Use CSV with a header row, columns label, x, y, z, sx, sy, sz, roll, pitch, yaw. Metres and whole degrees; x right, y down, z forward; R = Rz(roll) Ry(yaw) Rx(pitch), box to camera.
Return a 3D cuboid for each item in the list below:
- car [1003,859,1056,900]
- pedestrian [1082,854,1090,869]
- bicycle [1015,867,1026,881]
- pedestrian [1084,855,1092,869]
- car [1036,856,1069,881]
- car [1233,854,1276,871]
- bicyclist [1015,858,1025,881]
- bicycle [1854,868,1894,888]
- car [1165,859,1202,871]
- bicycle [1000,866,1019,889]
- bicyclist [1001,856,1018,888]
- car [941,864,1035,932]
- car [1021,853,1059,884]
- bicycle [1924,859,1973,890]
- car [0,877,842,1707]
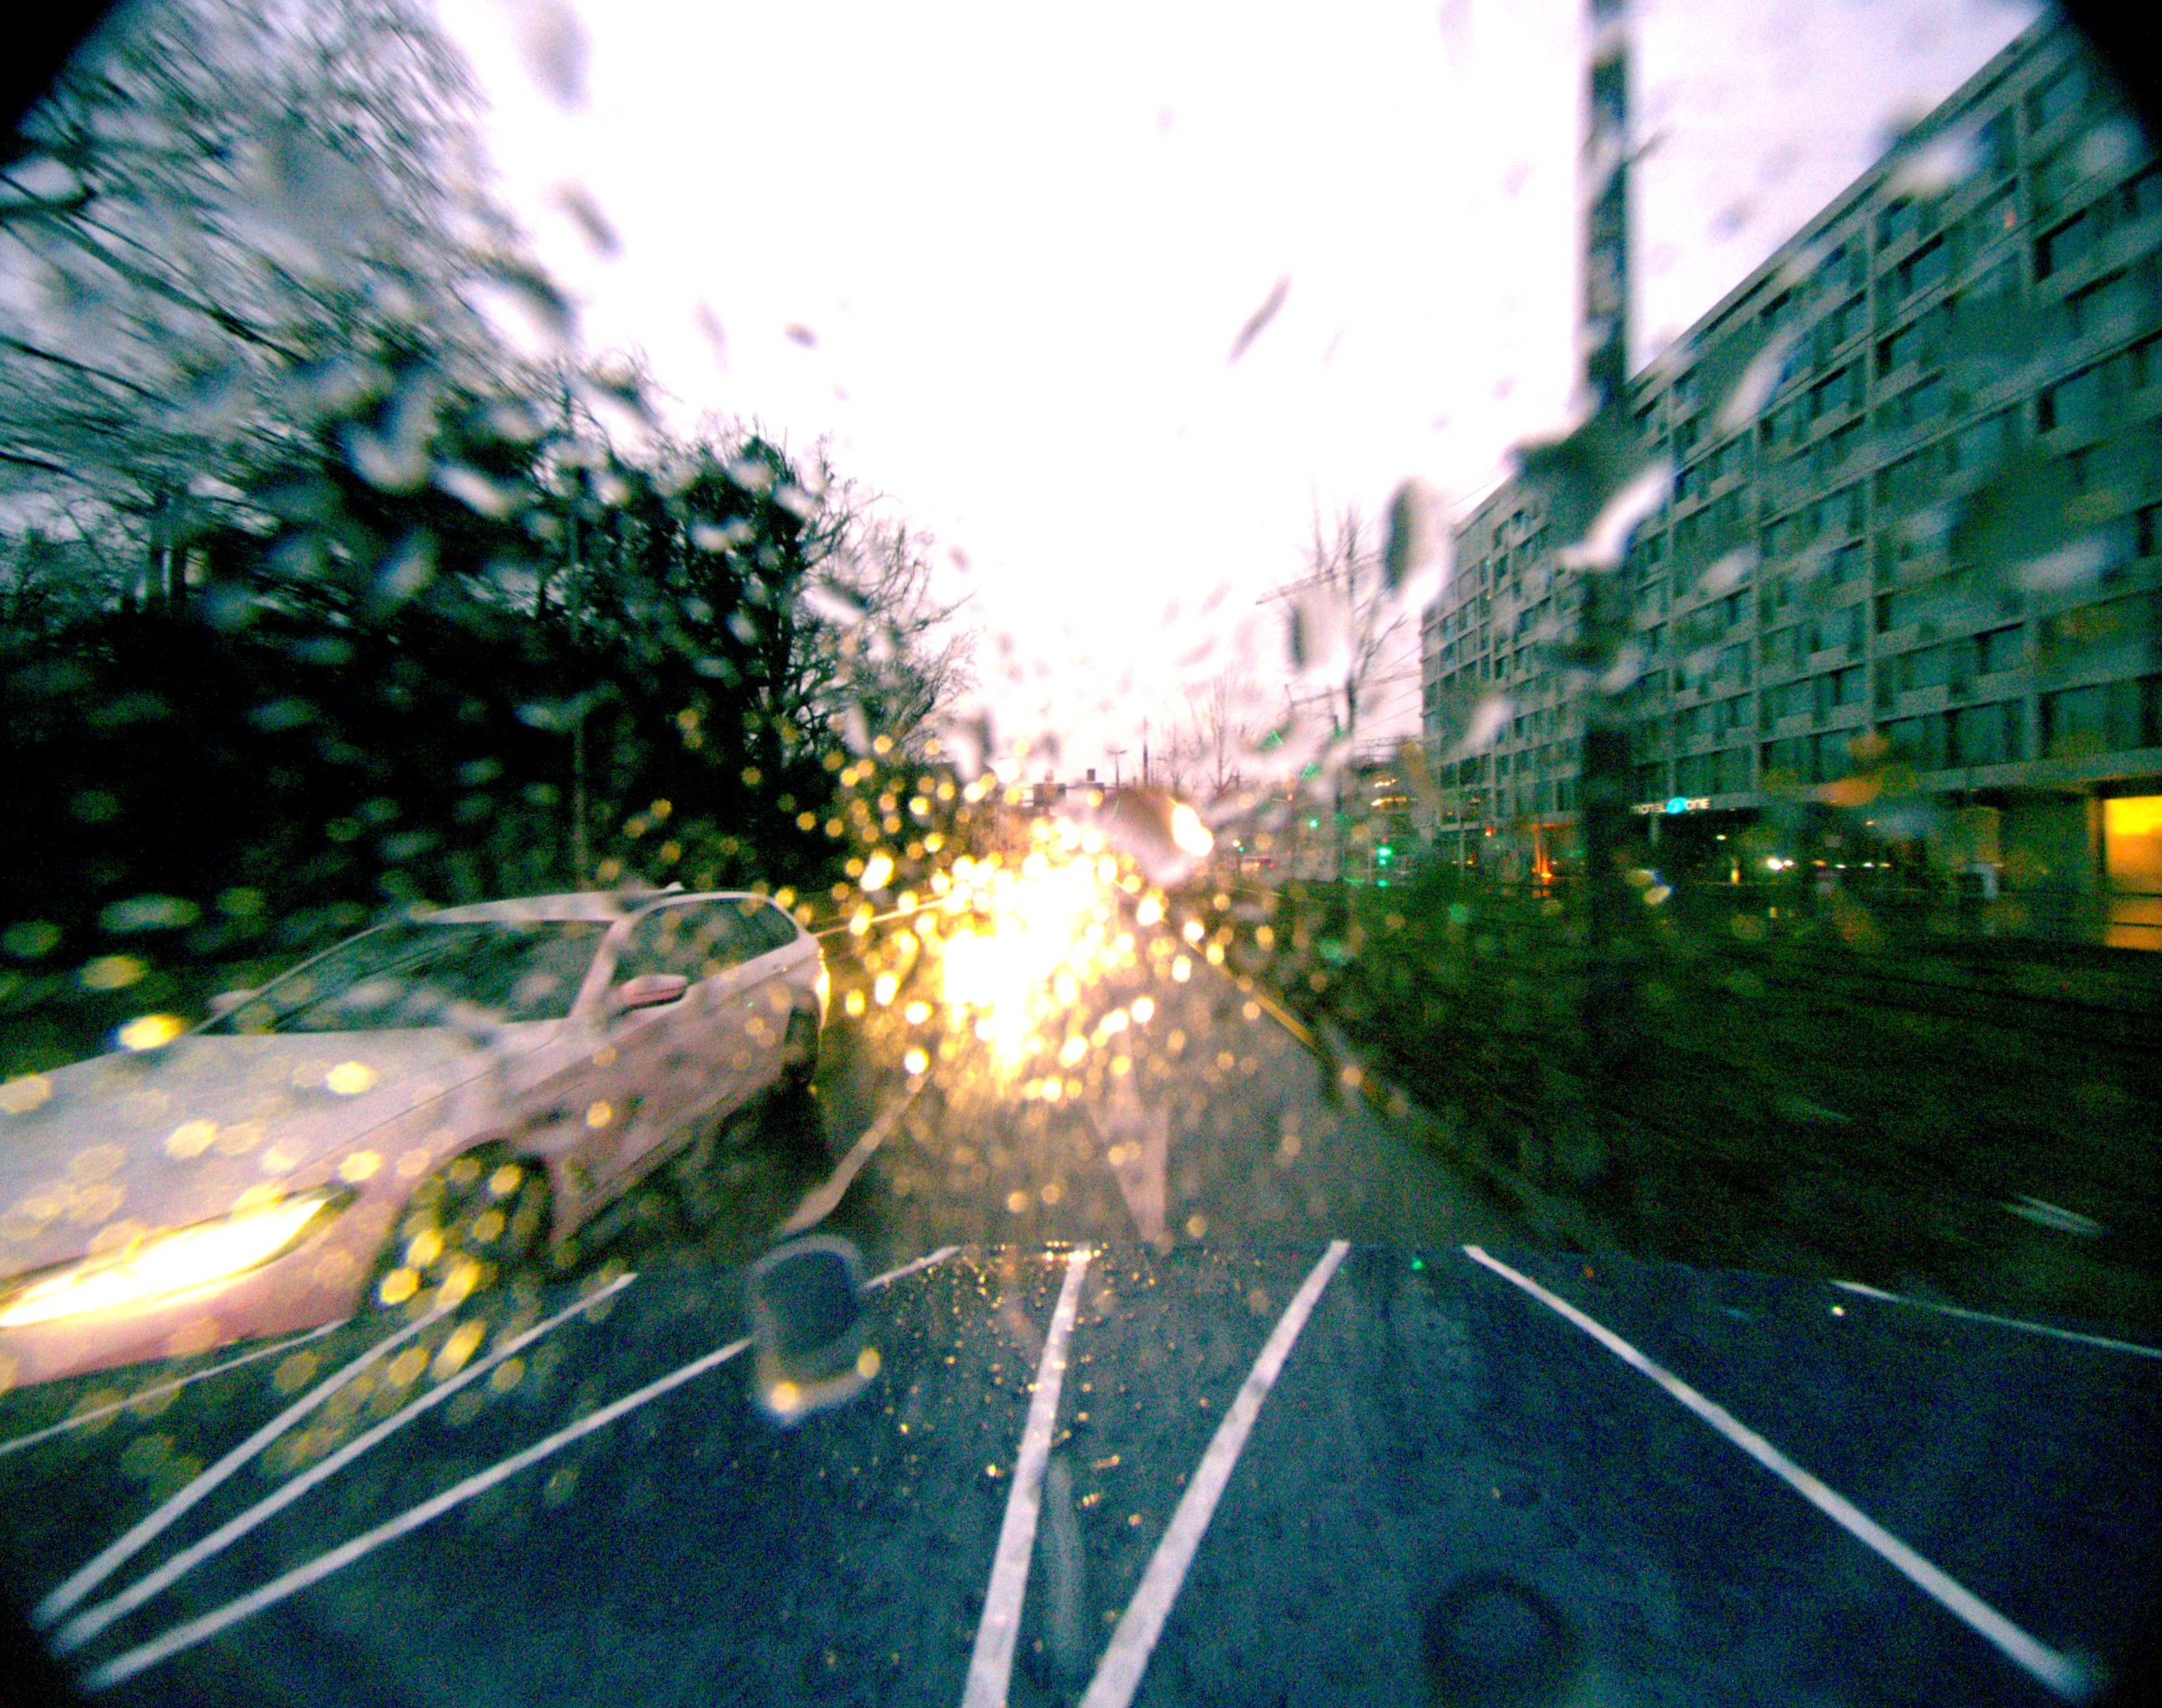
label,x,y,z,sx,sy,sz,roll,pitch,yaw
car,-2.257,1.083,34.181,2.073,1.618,4.267,-2,0,-1
pedestrian,0.609,0.969,95.141,0.768,1.794,0.711,-2,1,20
bicycle,-4.570,1.494,57.317,0.692,1.036,1.721,-3,0,-2
pedestrian,0.873,1.000,94.691,0.768,1.794,0.711,-2,1,14
car,-1.944,0.960,53.373,1.998,1.618,4.268,-3,0,1
car,18.059,0.873,79.280,2.090,1.659,5.036,0,0,-17
bicyclist,-4.589,1.181,57.324,0.692,1.675,0.593,-3,1,-2
bicycle,36.374,1.090,34.848,1.349,0.849,0.465,-2,1,-1
car,11.781,1.252,87.204,1.821,1.300,3.989,0,0,-42
bicycle,-5.022,1.643,53.641,0.968,1.442,3.389,-2,0,-1
bicyclist,-5.046,1.279,53.689,0.968,2.210,0.935,-2,1,-1
car,-2.328,1.068,20.102,1.886,1.552,4.171,0,0,1
car,-2.405,0.802,44.278,2.074,1.618,4.266,-3,0,-3
bicycle,36.814,0.878,32.250,1.539,1.231,0.465,-2,1,-1
car,-2.871,0.959,3.775,1.867,1.546,4.937,0,0,-1
